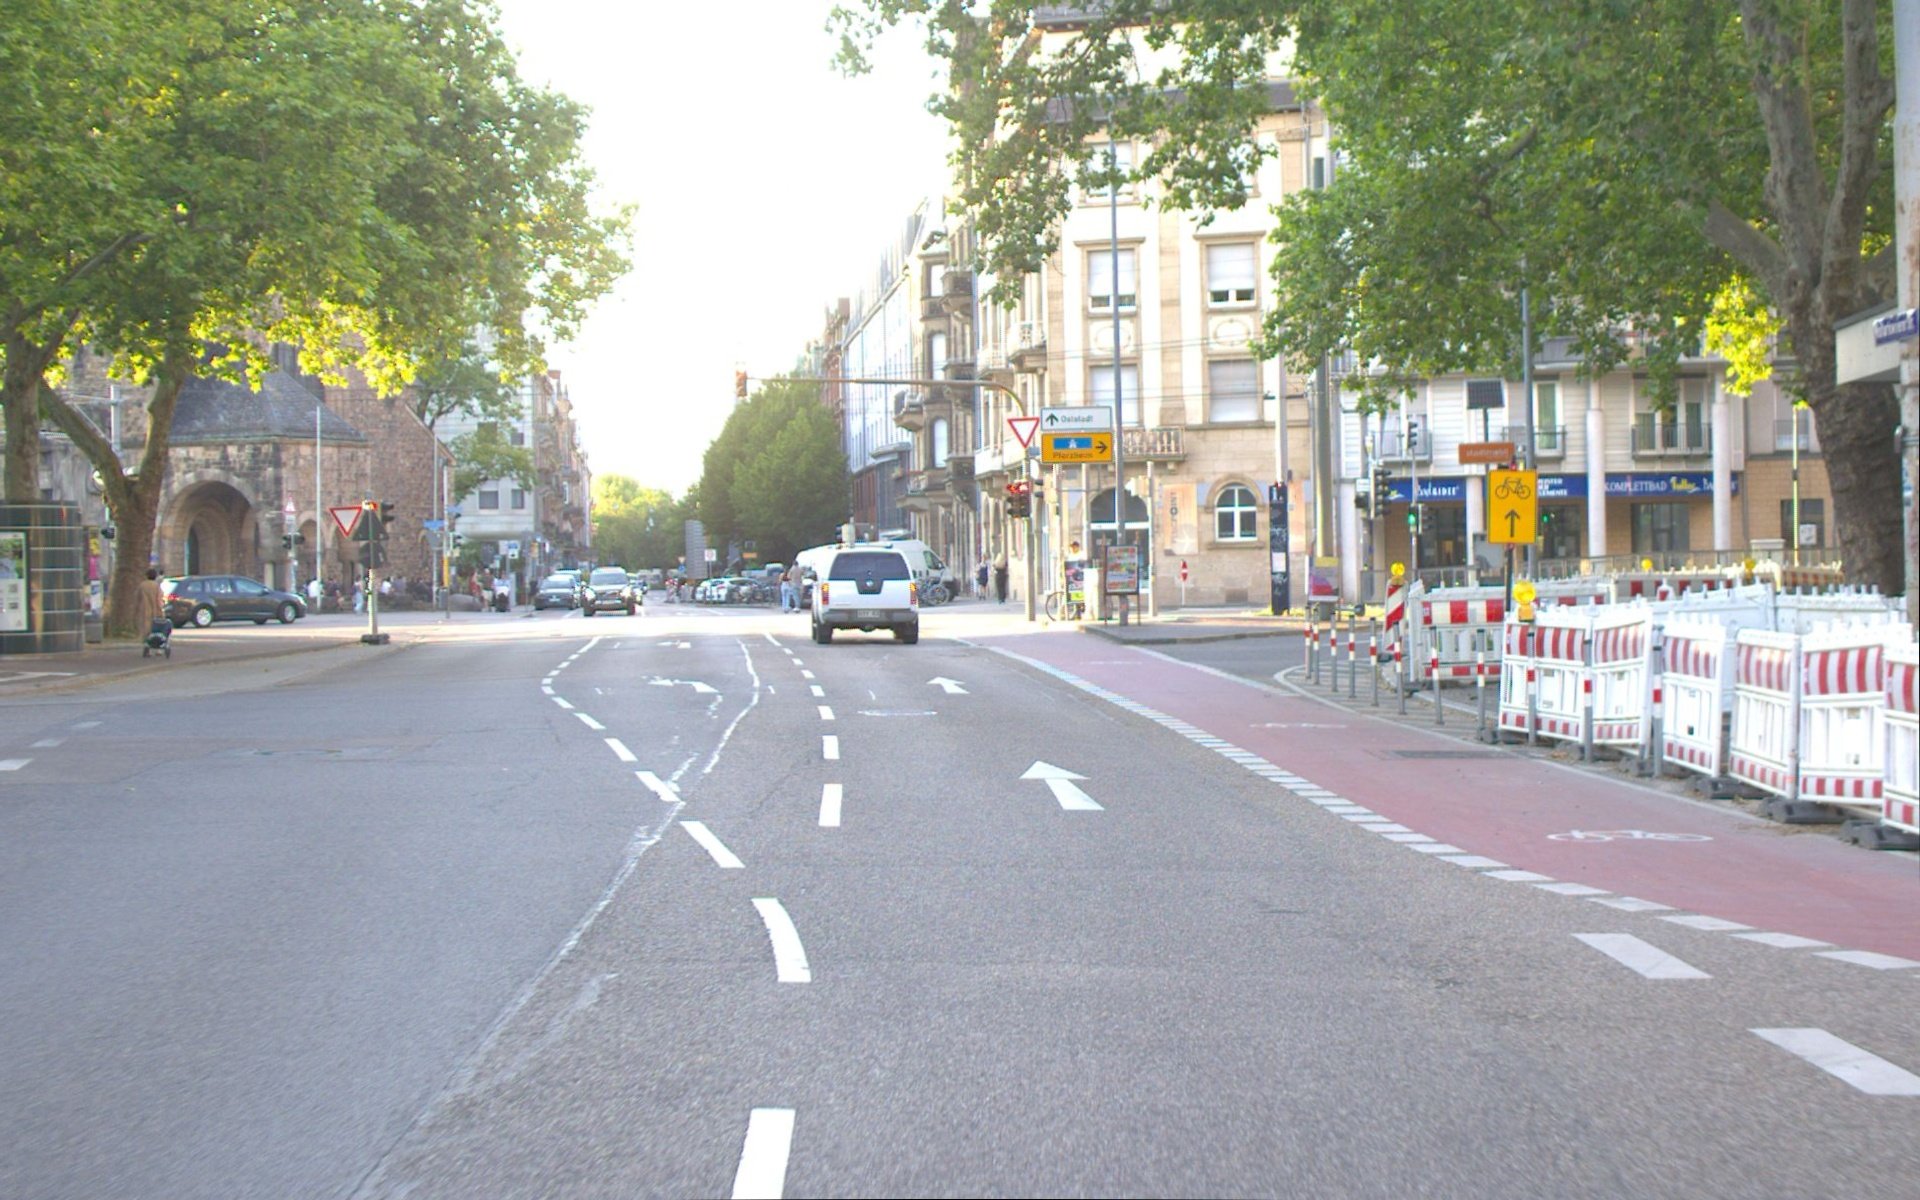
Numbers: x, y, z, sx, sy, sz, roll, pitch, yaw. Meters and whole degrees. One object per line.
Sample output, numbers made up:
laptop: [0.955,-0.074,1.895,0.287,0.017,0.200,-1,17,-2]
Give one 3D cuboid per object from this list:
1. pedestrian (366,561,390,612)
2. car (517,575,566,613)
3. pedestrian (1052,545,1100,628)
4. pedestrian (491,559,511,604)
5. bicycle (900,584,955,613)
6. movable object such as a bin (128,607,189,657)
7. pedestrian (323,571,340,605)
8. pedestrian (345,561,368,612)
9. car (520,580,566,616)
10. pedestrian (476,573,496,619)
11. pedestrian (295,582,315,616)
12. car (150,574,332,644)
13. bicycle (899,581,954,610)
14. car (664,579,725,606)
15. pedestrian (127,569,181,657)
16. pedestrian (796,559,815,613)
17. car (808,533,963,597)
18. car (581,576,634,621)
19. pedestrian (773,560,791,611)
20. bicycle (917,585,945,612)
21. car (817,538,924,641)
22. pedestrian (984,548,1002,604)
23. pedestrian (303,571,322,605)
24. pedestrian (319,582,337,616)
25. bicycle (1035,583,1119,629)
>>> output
pedestrian: [-21.781,-0.496,128.658,0.655,1.880,0.585,-1,0,27]
car: [-18.598,-0.259,152.643,1.993,1.645,3.822,1,0,-9]
pedestrian: [2.485,-0.300,73.716,0.794,1.762,0.721,-1,0,-18]
pedestrian: [-19.182,-0.762,143.564,0.594,1.880,0.553,-1,0,22]
bicycle: [-1.146,-0.050,120.320,1.914,0.965,0.546,-1,0,-2]
movable object such as a bin: [-14.682,0.583,62.965,0.738,0.887,0.982,-1,1,11]
pedestrian: [-24.004,-0.447,131.341,0.497,1.276,0.492,-1,0,-25]
pedestrian: [-22.597,-0.504,128.674,0.594,1.880,0.553,-1,0,26]
car: [-19.475,-0.119,160.344,1.993,1.645,3.822,1,0,-9]
pedestrian: [-19.831,-0.168,143.760,0.594,1.880,0.584,-1,0,23]
pedestrian: [-24.877,-0.039,130.587,0.573,1.286,0.485,-1,0,26]
car: [-20.474,0.227,97.923,4.615,1.835,2.085,-2,1,-28]
bicycle: [-1.168,-0.163,120.039,1.914,0.965,0.546,-1,0,-2]
car: [-18.050,-0.514,233.550,3.986,1.809,2.000,-1,0,-7]
pedestrian: [-14.972,0.238,63.898,0.738,1.623,0.685,-1,0,11]
pedestrian: [-5.387,-0.492,119.661,0.593,1.880,0.647,-1,0,1]
car: [-2.706,-1.306,126.556,5.807,2.280,2.071,-1,1,-44]
car: [-13.434,-0.061,130.918,1.781,1.645,3.822,1,0,-9]
pedestrian: [-6.603,-0.555,127.764,0.593,1.880,0.647,-1,0,1]
bicycle: [-1.040,-0.056,122.468,0.544,0.965,1.920,-1,1,13]
car: [-1.690,-0.200,64.021,1.866,1.809,4.000,-2,0,-2]
pedestrian: [1.128,-0.818,116.541,0.593,1.880,0.647,-1,0,1]
pedestrian: [-24.768,-0.463,131.553,0.572,1.315,0.486,-1,0,11]
pedestrian: [-24.019,-0.030,130.700,0.498,1.282,0.492,-1,0,16]
bicycle: [2.489,0.125,73.220,1.691,0.965,0.546,-1,0,-7]
